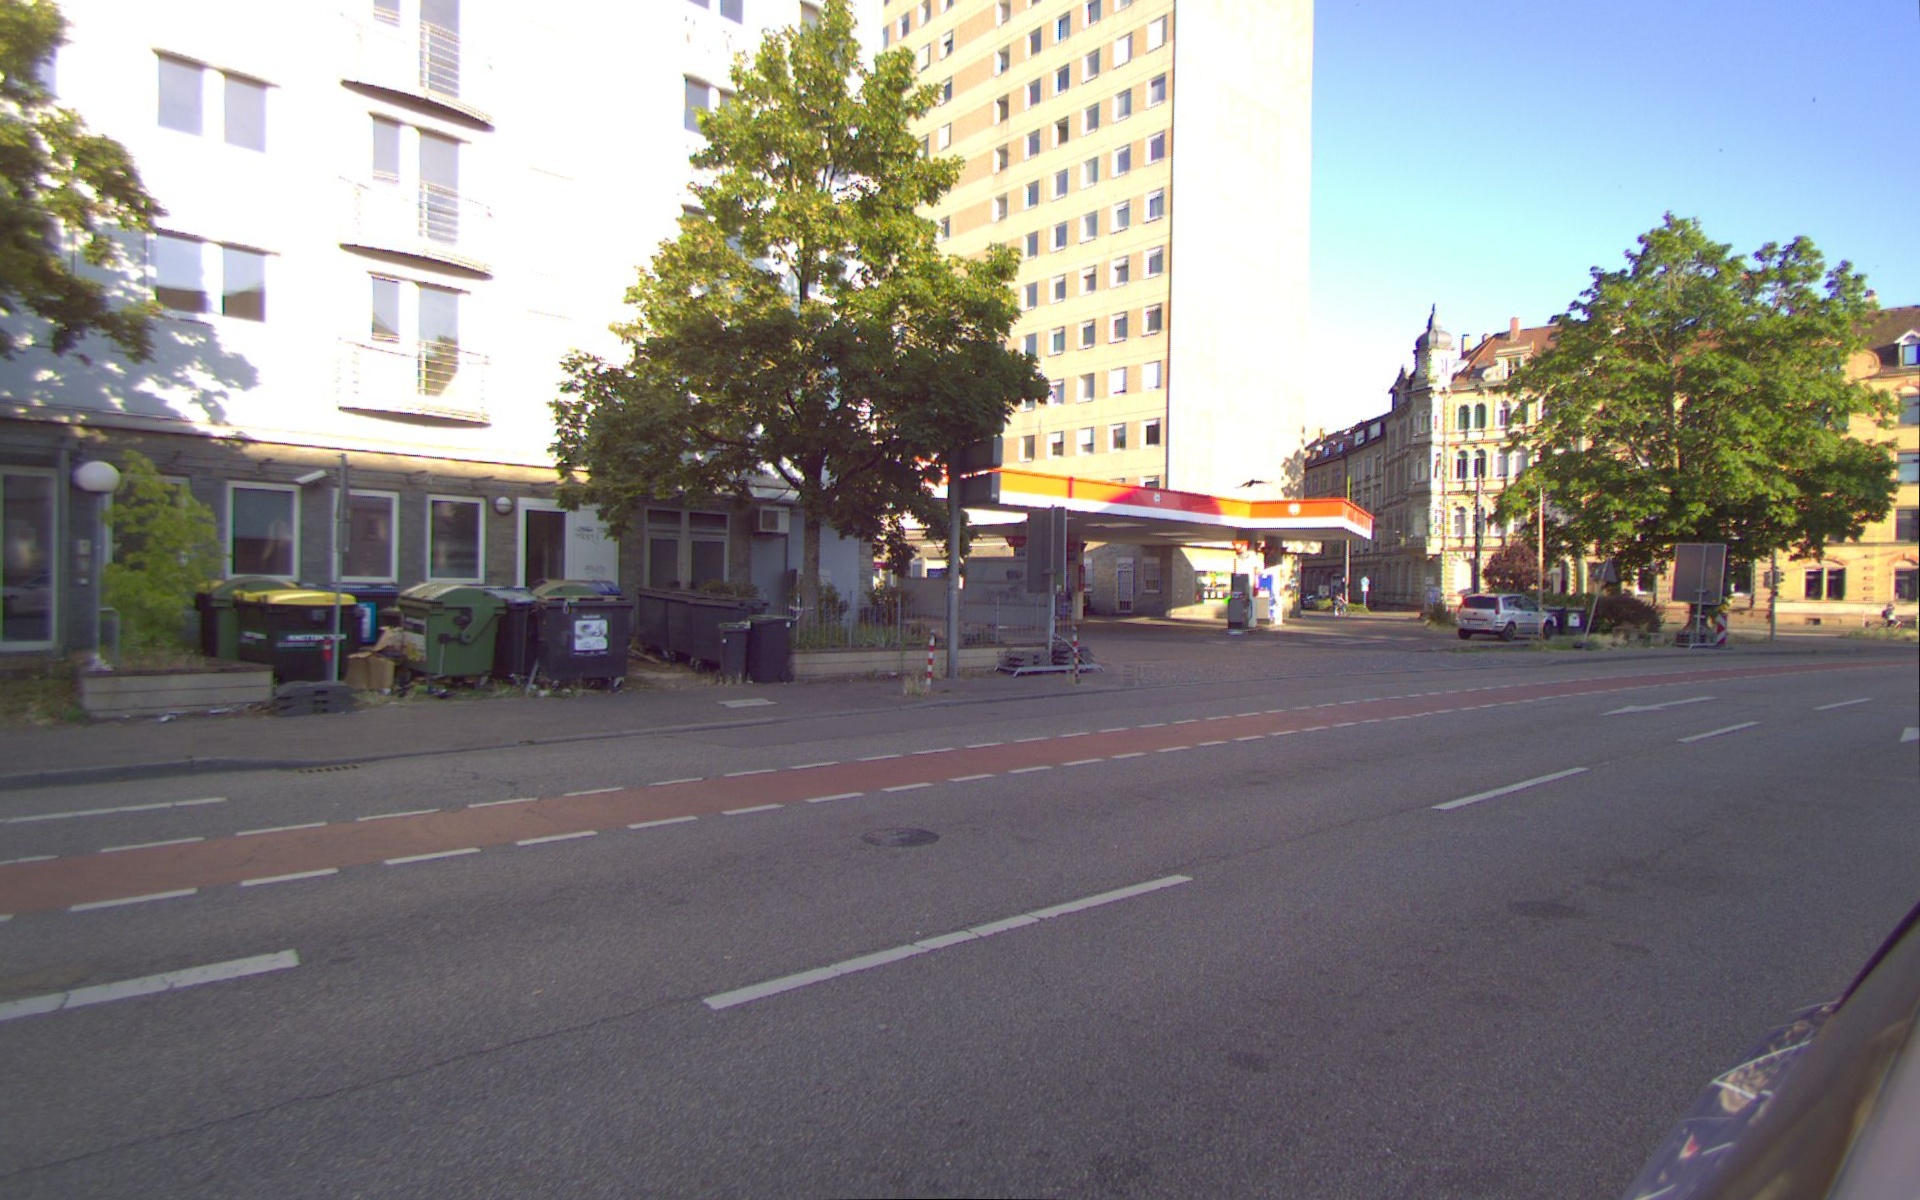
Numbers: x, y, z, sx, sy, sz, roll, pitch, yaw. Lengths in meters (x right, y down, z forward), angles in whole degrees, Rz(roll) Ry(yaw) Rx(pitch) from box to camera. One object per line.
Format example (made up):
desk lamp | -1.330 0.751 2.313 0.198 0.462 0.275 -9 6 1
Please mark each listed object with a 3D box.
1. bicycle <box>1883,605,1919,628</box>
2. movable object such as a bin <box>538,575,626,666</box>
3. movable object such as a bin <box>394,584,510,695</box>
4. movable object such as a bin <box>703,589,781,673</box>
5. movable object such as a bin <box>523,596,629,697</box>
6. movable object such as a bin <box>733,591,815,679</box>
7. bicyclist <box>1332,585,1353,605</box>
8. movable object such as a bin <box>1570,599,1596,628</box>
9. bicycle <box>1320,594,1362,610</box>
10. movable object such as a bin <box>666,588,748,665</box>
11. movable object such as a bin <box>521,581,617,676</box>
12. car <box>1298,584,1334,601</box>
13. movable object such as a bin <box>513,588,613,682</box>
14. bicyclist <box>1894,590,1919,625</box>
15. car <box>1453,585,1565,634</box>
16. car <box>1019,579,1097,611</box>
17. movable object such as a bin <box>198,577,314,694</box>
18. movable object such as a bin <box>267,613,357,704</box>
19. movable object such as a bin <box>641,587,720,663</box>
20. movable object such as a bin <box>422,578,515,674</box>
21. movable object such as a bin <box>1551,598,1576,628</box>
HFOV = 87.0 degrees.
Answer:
bicycle | 46.630 0.826 49.672 1.921 1.073 0.444 2 1 43
movable object such as a bin | -6.640 0.335 17.783 1.142 1.517 1.033 0 1 -43
movable object such as a bin | -7.080 0.509 14.088 1.088 1.441 1.348 0 1 -44
movable object such as a bin | -3.691 0.501 17.100 0.938 1.345 0.954 0 1 -43
movable object such as a bin | -5.447 0.620 14.358 1.142 1.345 0.954 0 1 -43
movable object such as a bin | -3.017 0.541 16.386 0.938 1.345 0.954 0 1 -43
bicyclist | 25.829 -0.337 68.328 1.065 1.382 0.841 -1 -1 44
movable object such as a bin | 22.136 0.475 35.950 0.674 1.031 0.544 0 1 -35
bicycle | 25.740 0.128 68.412 2.613 1.083 0.772 -1 0 45
movable object such as a bin | -4.457 0.446 17.850 1.080 1.299 0.954 0 1 -43
movable object such as a bin | -6.356 0.431 16.452 1.142 1.467 1.033 0 1 -43
car | 33.003 -0.708 93.912 1.962 1.552 3.999 1 1 1
movable object such as a bin | -6.012 0.493 15.317 1.142 1.345 0.954 0 1 -43
bicyclist | 46.668 0.361 49.788 1.062 1.670 0.721 1 1 43
car | 18.303 0.271 33.711 3.722 1.536 1.691 -1 1 -33
car | 4.925 -0.264 51.076 1.739 1.536 3.790 0 1 -41
movable object such as a bin | -9.542 0.434 13.708 1.088 1.479 1.348 0 1 -44
movable object such as a bin | -8.166 0.714 12.756 0.806 1.058 0.851 0 1 -44
movable object such as a bin | -5.127 0.433 18.588 1.080 1.345 0.954 0 1 -43
movable object such as a bin | -8.216 0.402 16.909 1.142 1.517 1.033 0 1 -43
movable object such as a bin | 21.865 0.464 36.663 0.674 1.031 0.544 0 1 -35
